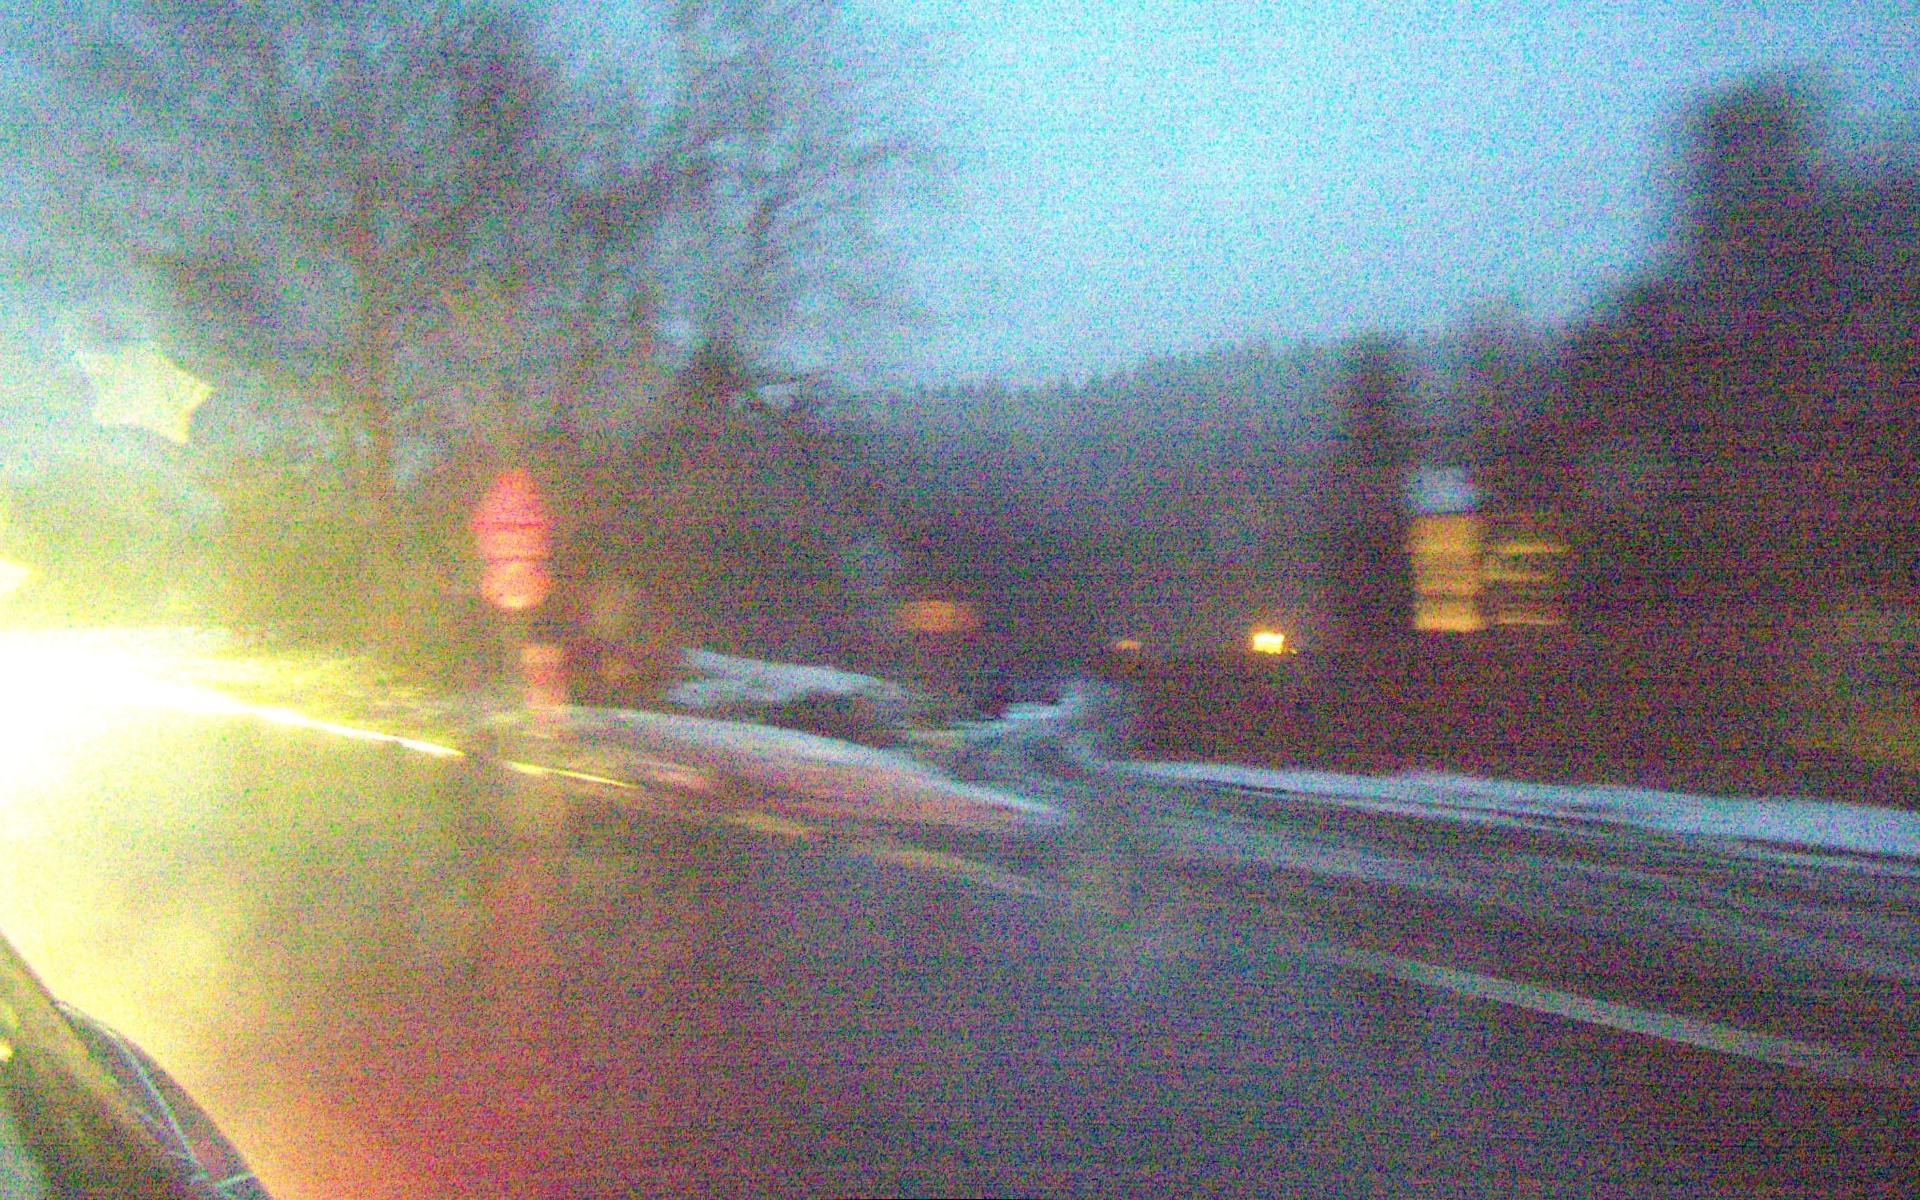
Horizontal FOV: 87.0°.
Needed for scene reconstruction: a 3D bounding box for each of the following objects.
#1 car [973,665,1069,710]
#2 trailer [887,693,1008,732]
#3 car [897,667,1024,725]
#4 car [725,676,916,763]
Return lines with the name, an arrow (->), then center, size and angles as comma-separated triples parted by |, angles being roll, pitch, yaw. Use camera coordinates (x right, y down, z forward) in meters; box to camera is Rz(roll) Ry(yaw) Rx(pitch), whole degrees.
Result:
car -> 2.758, 3.937, 45.572 | 3.964, 1.844, 1.965 | -3, -4, 16
trailer -> -0.399, 3.506, 31.556 | 3.367, 1.087, 1.753 | -5, -5, 32
car -> -0.012, 3.346, 35.279 | 3.987, 1.844, 1.954 | -4, -4, 32
car -> -3.232, 2.783, 23.713 | 3.964, 1.844, 1.965 | -3, -4, 16
